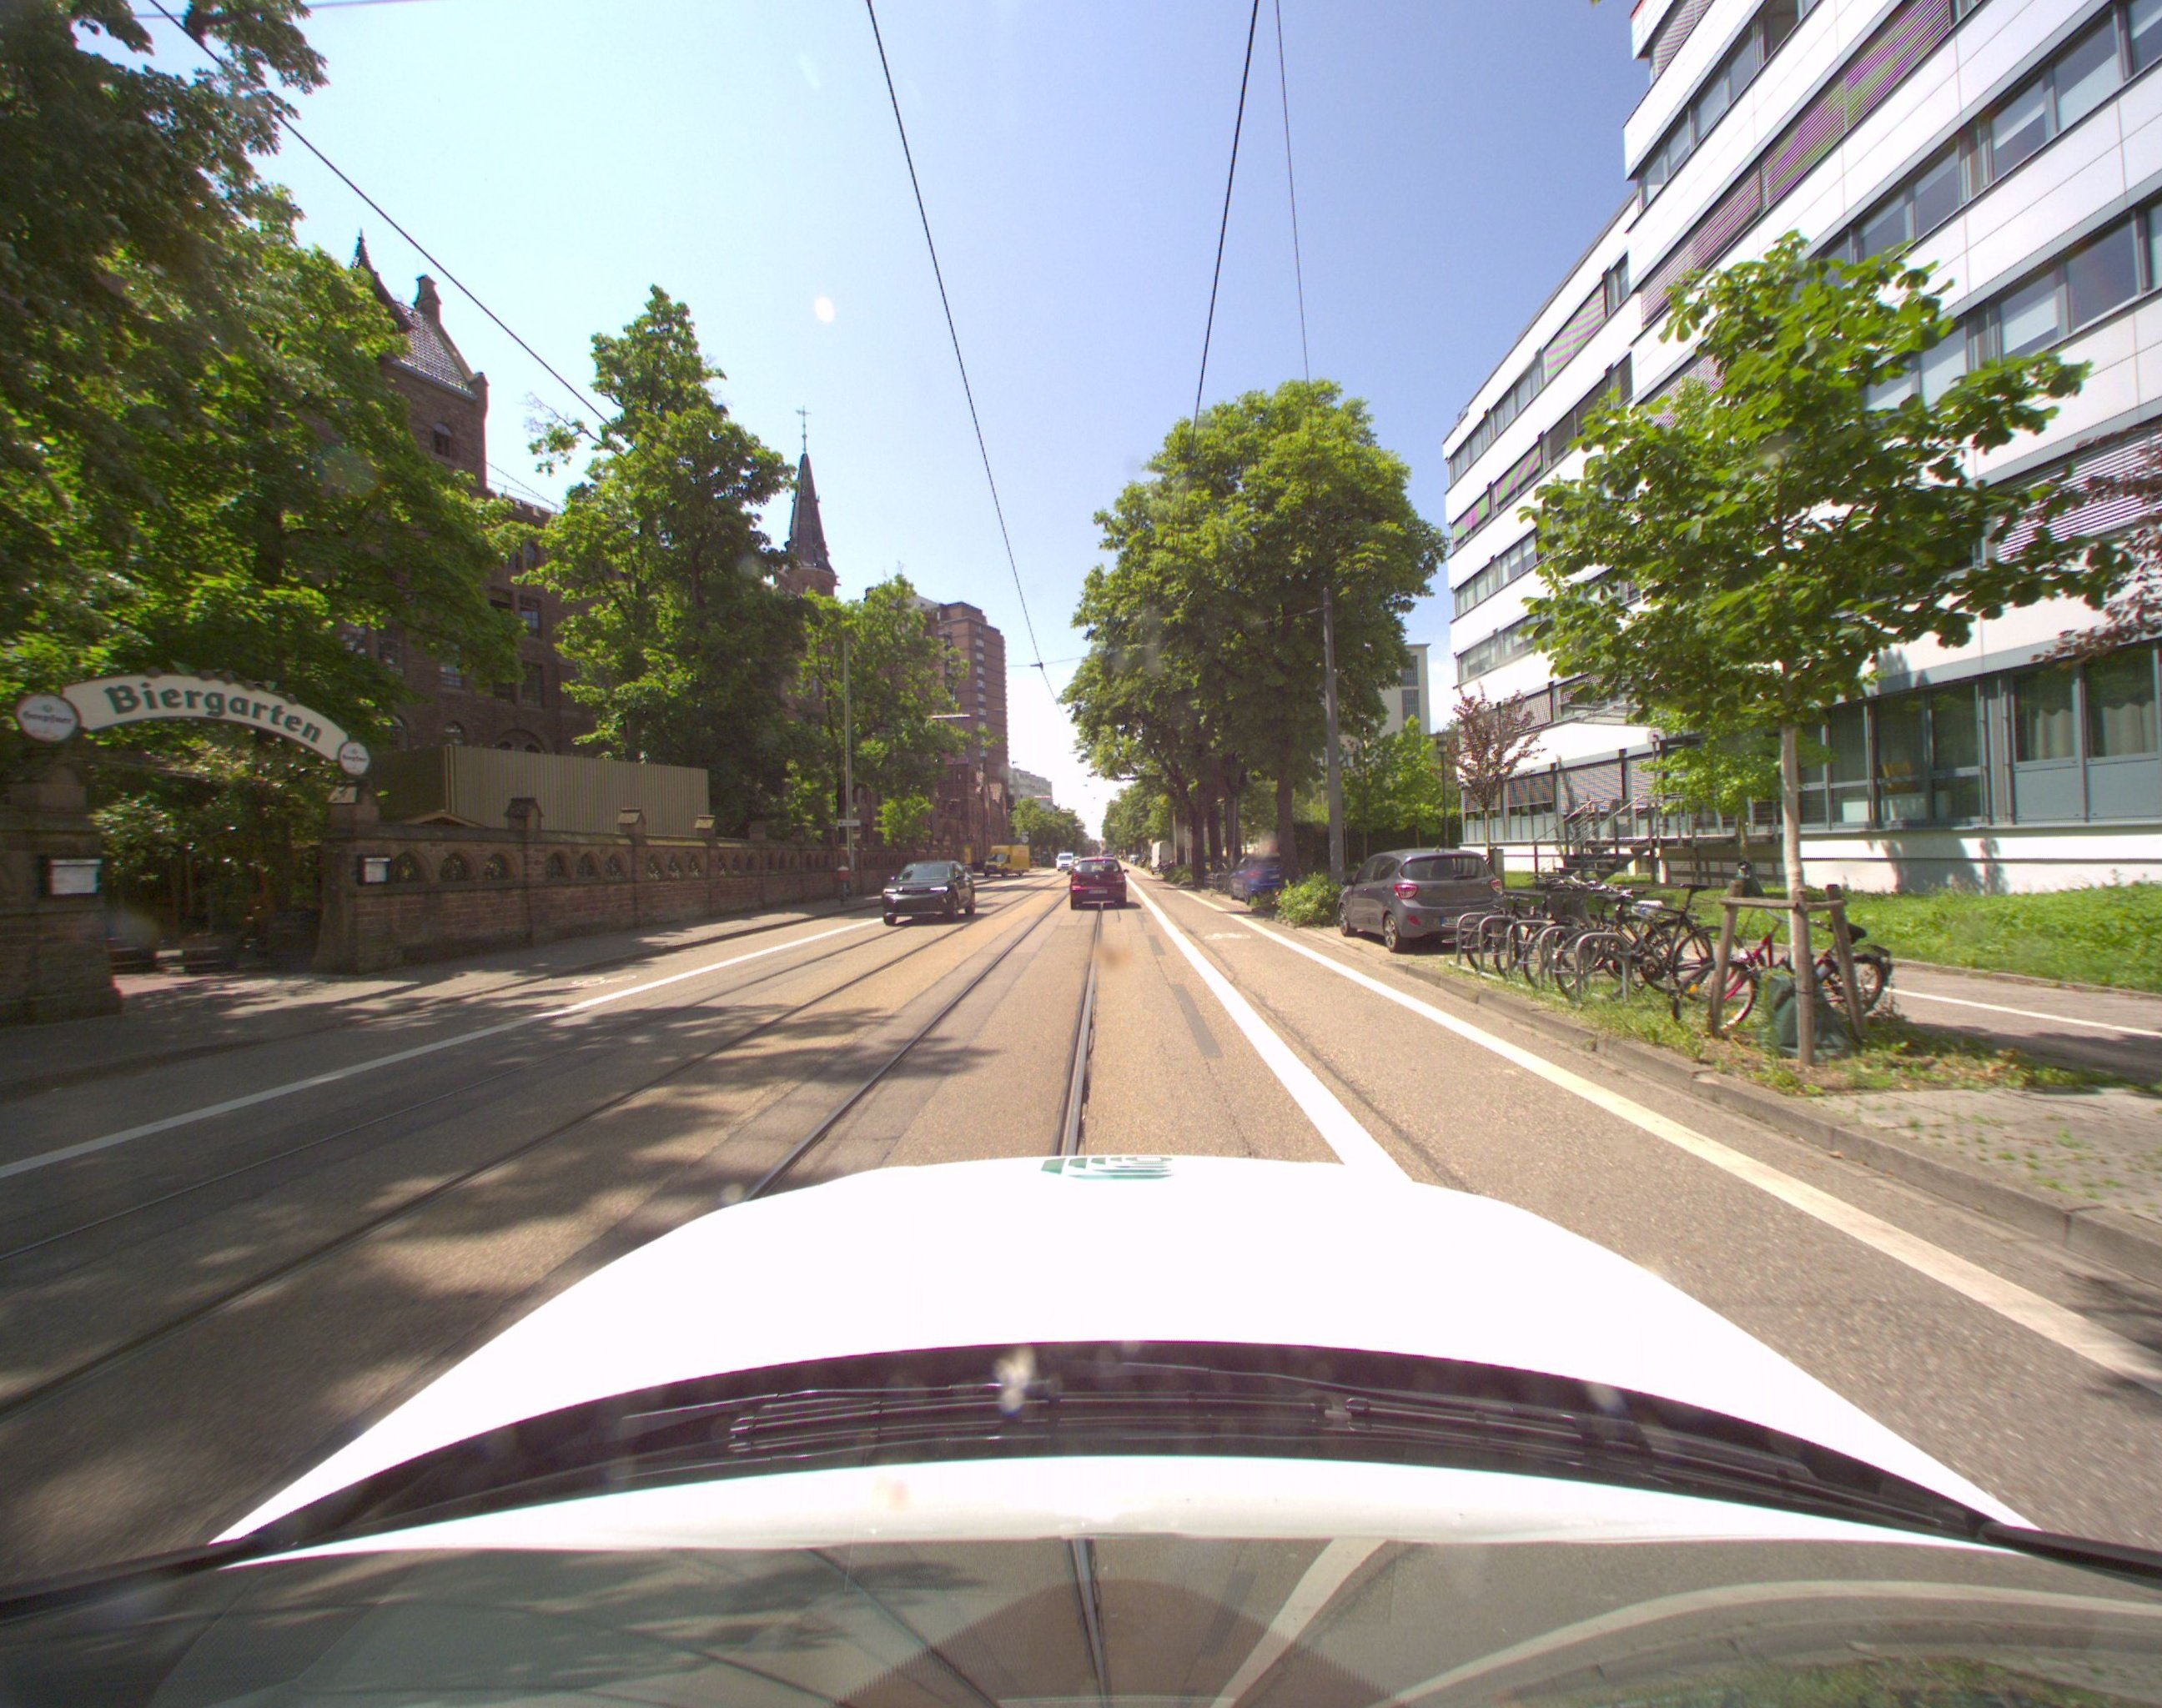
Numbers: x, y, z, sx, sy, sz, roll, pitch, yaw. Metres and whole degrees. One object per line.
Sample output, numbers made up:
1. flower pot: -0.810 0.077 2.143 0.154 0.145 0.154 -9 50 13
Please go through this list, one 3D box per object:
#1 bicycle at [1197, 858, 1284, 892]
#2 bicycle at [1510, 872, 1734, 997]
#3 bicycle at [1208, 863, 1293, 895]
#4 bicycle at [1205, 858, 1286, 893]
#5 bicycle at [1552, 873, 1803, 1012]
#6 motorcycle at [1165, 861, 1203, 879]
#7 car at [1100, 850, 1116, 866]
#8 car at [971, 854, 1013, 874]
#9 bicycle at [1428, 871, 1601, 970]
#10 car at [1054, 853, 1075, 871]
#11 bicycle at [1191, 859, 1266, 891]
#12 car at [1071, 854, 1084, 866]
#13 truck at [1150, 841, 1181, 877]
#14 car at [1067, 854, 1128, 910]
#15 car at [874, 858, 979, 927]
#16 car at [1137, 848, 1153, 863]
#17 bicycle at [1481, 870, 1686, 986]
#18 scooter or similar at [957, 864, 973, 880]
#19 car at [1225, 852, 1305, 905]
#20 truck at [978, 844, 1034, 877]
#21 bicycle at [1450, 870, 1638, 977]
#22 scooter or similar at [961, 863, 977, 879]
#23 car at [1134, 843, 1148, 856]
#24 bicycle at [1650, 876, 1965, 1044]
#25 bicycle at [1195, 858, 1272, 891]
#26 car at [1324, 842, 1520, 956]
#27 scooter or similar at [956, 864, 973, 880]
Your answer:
1. bicycle: 6.446 0.832 32.936 3.357 1.313 0.781 -1 0 -1
2. bicycle: 5.156 0.758 7.825 1.744 1.085 0.549 -2 0 1
3. bicycle: 6.424 0.942 30.947 3.060 1.154 0.781 -1 0 -1
4. bicycle: 6.468 0.825 32.105 3.060 1.313 0.781 -1 0 -1
5. bicycle: 5.160 0.751 7.111 1.744 1.085 0.549 -2 0 1
6. motorcycle: 6.923 1.090 54.849 2.541 1.188 0.943 -1 0 7
7. car: 3.454 0.554 105.134 1.987 2.013 3.999 -1 0 0
8. car: -9.454 1.051 86.562 3.967 2.013 2.003 -2 0 5
9. bicycle: 5.148 0.780 9.733 1.744 1.085 0.549 -2 0 1
10. car: -1.803 0.906 90.210 1.986 1.854 4.684 -2 0 2
11. bicycle: 6.271 0.883 34.783 3.060 1.313 0.781 -1 0 -1
12. car: -0.530 0.912 116.906 1.668 1.656 4.002 -1 0 2
13. truck: 6.451 0.362 62.875 1.986 2.662 4.877 -1 0 2
14. car: 0.505 0.764 24.381 1.613 1.486 4.001 -2 0 1
15. car: -3.844 0.905 20.972 1.764 1.516 4.002 -2 0 2
16. car: 7.403 0.156 94.253 1.668 1.656 4.002 -1 0 2
17. bicycle: 5.168 0.747 8.435 1.744 1.085 0.549 -2 0 1
18. scooter or similar: -8.561 1.301 60.046 1.092 1.155 0.524 -1 0 -20
19. car: 5.645 0.706 25.387 1.682 1.468 3.881 -2 0 2
20. truck: -6.777 0.543 74.512 2.351 2.787 7.353 -2 0 17
21. bicycle: 5.129 0.761 9.084 1.744 1.085 0.549 -2 0 1
22. scooter or similar: -8.378 1.268 60.883 1.092 1.155 0.524 -1 0 -20
23. car: 7.975 -0.568 107.885 1.668 1.656 4.002 -1 0 2
24. bicycle: 5.212 0.740 5.908 1.744 1.085 0.549 -2 0 1
25. bicycle: 6.320 0.830 33.806 3.060 1.313 0.781 -1 0 -1
26. car: 5.318 0.630 13.238 1.682 1.503 3.629 -4 0 2
27. scooter or similar: -8.496 1.293 59.445 1.092 1.155 0.524 -1 0 -20
